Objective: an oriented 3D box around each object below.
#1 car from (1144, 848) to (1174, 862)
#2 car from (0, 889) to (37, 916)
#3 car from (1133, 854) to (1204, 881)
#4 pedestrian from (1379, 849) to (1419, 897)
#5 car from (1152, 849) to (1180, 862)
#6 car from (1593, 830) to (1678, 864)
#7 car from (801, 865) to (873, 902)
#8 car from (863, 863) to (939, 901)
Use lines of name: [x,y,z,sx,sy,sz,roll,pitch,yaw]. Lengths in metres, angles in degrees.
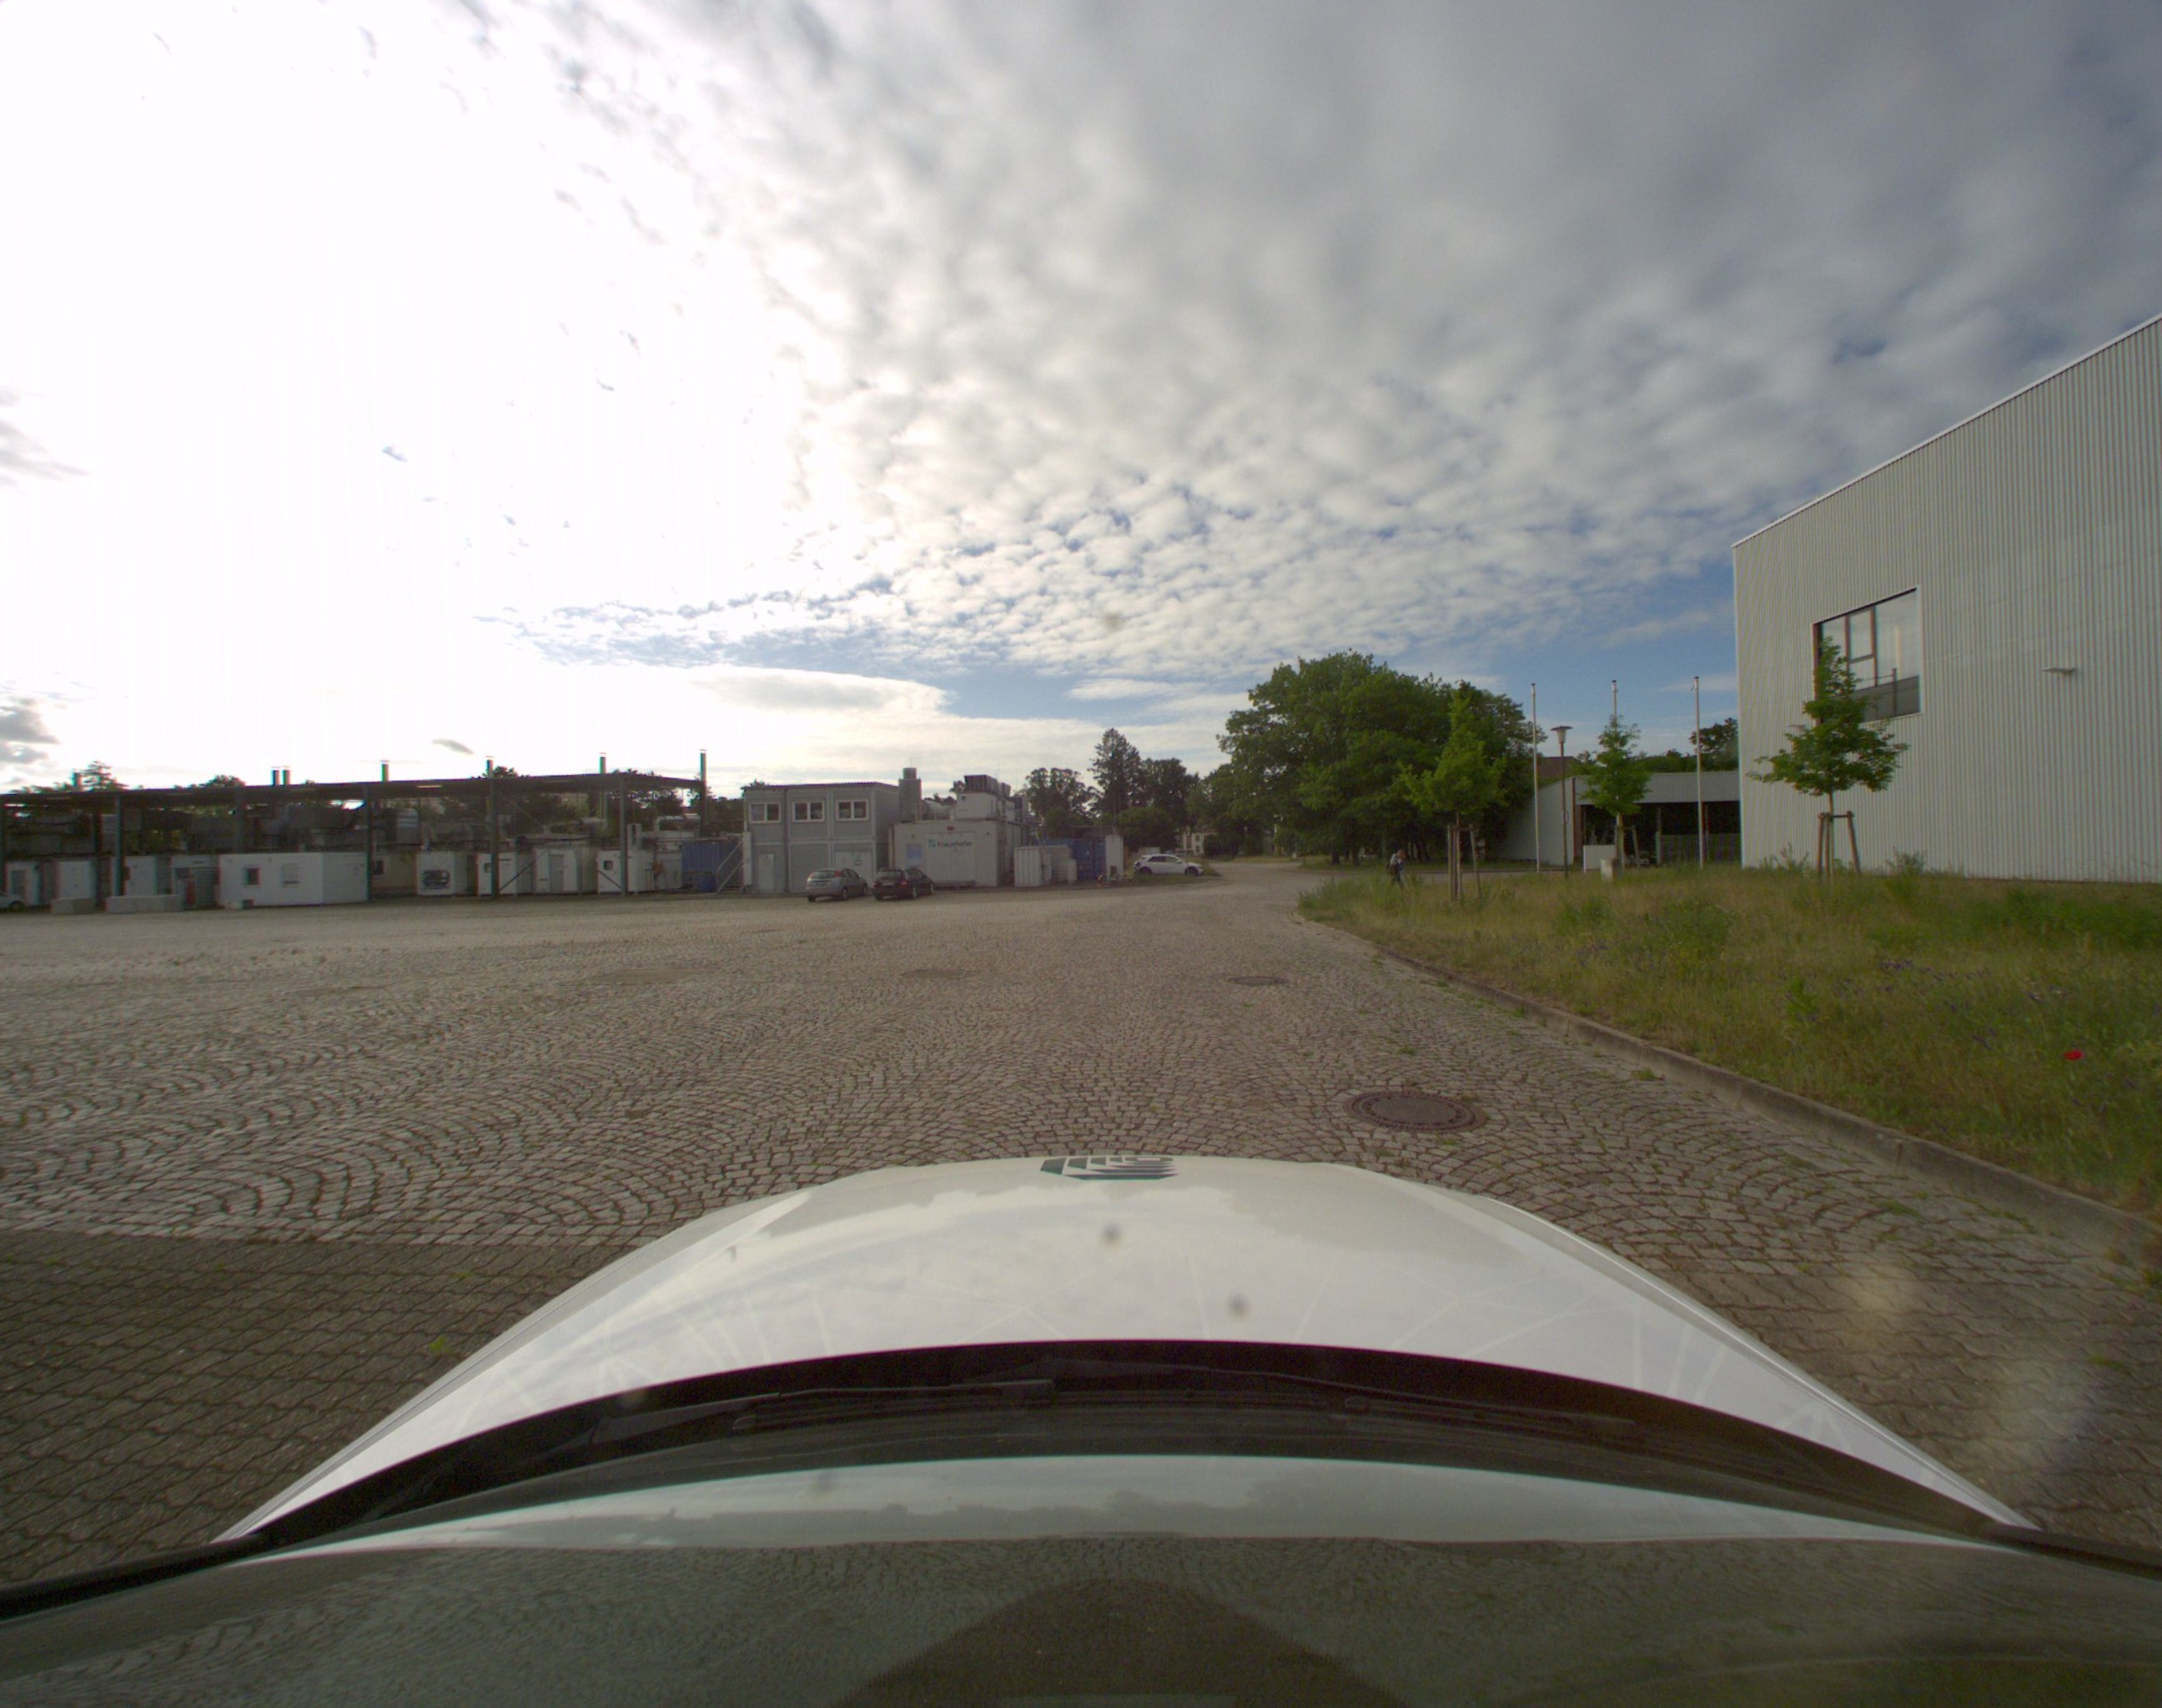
car: [13.946,0.174,145.210,5.145,2.337,2.003,-2,-1,5]
car: [-62.581,2.797,45.975,1.984,1.492,4.005,-2,-1,4]
car: [5.779,0.853,53.394,4.508,1.599,2.004,-2,0,8]
pedestrian: [10.580,0.628,27.096,1.065,1.556,1.081,-2,-1,29]
car: [16.082,0.241,154.632,5.145,2.337,2.003,-2,-1,5]
car: [36.239,-0.428,53.472,2.231,2.014,5.343,-2,0,5]
car: [-11.285,1.337,37.959,1.898,1.476,4.051,-2,1,4]
car: [-8.156,1.239,37.367,2.026,1.453,4.537,-2,1,6]
